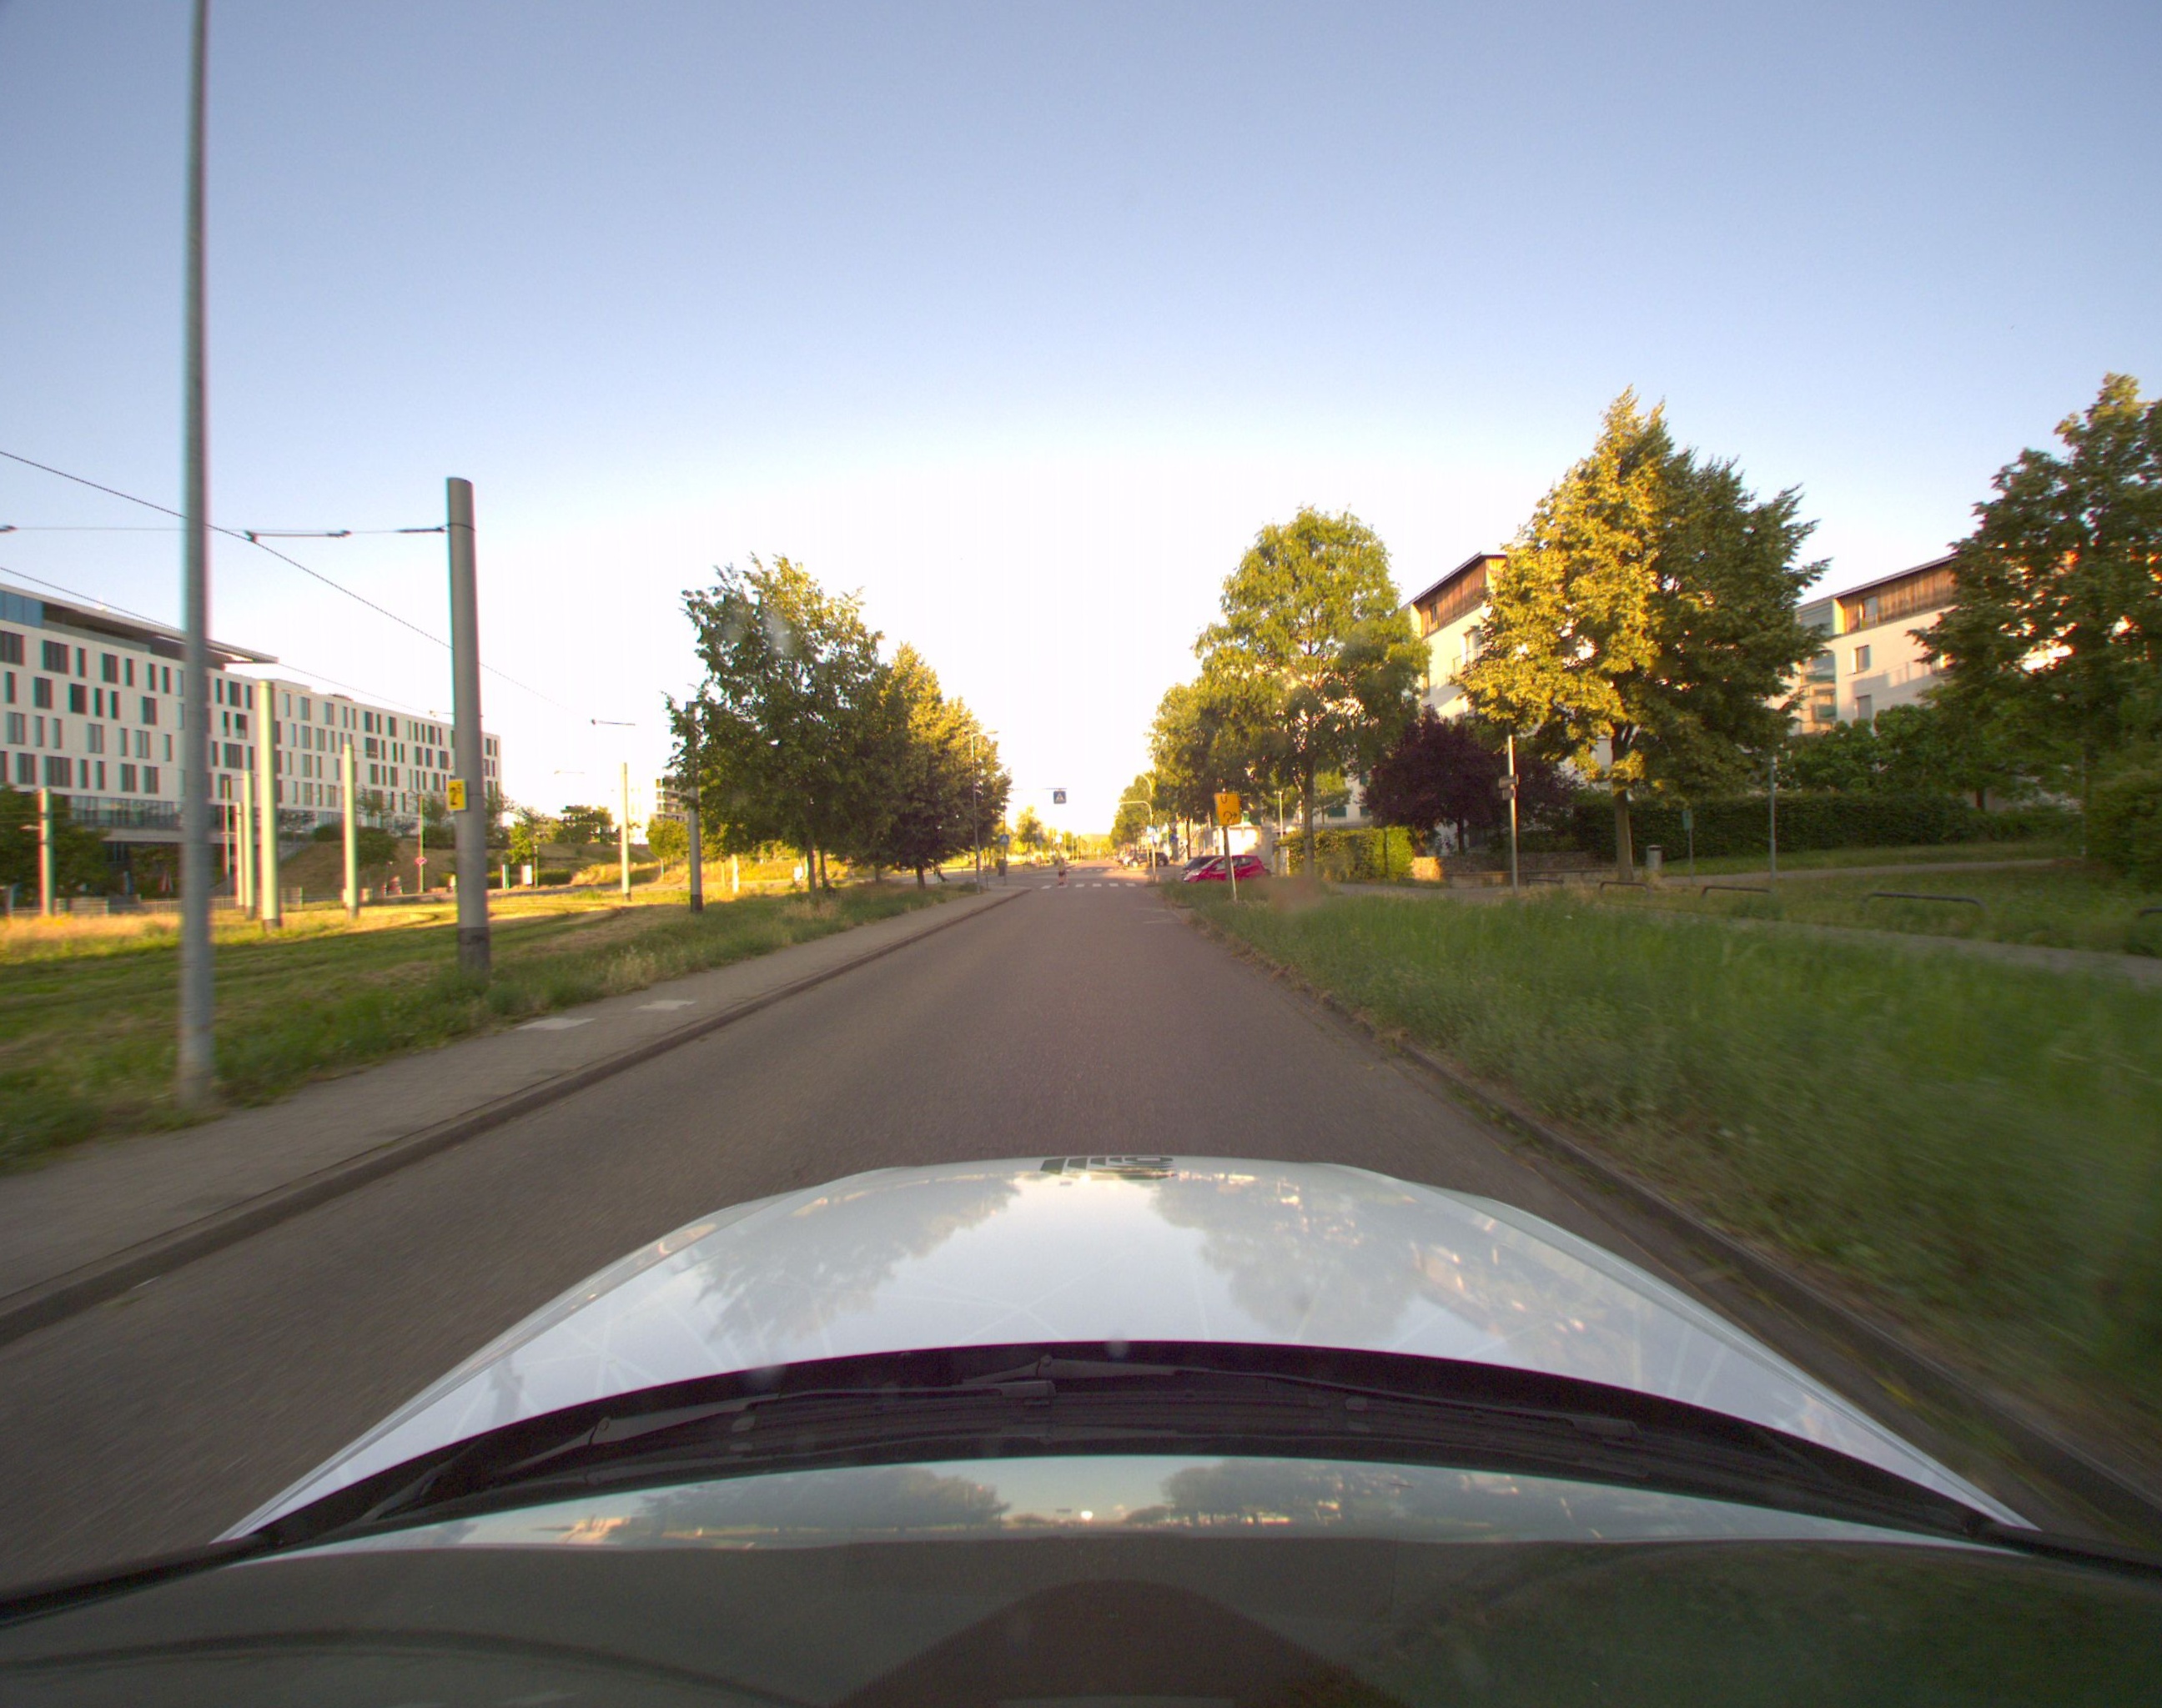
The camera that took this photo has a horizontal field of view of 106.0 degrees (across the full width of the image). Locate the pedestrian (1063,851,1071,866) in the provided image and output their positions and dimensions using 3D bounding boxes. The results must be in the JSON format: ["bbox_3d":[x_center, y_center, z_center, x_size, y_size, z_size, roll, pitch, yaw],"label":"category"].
[{"bbox_3d":[-1.904,0.663,112.110,0.866,2.013,0.787,-2,0,-9],"label":"pedestrian"}]

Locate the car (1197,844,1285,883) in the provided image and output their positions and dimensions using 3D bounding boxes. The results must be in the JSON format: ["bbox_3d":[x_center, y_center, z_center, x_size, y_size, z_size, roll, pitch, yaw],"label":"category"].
[{"bbox_3d":[7.636,0.449,39.073,3.796,1.508,1.677,-3,4,-5],"label":"car"}]

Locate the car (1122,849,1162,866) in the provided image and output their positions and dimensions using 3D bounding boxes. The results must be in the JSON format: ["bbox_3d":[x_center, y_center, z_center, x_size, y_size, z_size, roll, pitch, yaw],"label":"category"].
[{"bbox_3d":[6.671,0.384,89.181,4.338,1.596,2.001,-2,0,2],"label":"car"}]

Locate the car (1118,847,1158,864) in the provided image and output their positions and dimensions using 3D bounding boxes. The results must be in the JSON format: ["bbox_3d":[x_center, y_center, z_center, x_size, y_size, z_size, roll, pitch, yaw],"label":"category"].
[{"bbox_3d":[7.527,0.202,107.194,4.992,2.045,2.247,-2,0,-4],"label":"car"}]

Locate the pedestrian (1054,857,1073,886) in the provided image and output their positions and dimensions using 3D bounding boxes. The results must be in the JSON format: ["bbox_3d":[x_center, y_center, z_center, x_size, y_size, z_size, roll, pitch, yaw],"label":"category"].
[{"bbox_3d":[-1.054,1.026,49.036,1.018,1.693,0.757,-2,0,-10],"label":"pedestrian"}]

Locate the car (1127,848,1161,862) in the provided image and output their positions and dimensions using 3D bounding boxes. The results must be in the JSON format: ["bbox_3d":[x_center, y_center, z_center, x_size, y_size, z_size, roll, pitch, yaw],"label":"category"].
[{"bbox_3d":[8.021,0.163,104.134,4.249,1.596,2.000,-2,0,0],"label":"car"}]

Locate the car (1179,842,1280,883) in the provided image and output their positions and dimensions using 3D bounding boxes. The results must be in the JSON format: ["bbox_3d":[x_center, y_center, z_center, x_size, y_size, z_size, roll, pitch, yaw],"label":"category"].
[{"bbox_3d":[6.070,0.327,33.592,3.791,1.508,1.678,-2,0,-1],"label":"car"}]

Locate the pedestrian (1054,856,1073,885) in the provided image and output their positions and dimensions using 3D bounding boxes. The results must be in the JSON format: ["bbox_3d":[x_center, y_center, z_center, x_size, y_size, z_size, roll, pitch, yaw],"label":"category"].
[{"bbox_3d":[-1.087,1.011,49.750,0.983,1.693,0.697,-2,0,-10],"label":"pedestrian"}]

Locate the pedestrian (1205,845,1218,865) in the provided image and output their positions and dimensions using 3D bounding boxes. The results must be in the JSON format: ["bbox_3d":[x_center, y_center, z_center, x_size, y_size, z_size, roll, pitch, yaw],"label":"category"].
[{"bbox_3d":[11.595,0.067,72.416,1.002,1.788,0.761,-1,0,-5],"label":"pedestrian"}]

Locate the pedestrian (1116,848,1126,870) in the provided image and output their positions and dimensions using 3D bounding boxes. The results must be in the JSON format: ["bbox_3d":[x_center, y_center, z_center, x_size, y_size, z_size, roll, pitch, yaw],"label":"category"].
[{"bbox_3d":[3.768,0.478,77.114,0.842,2.013,0.945,-2,0,7],"label":"pedestrian"}]

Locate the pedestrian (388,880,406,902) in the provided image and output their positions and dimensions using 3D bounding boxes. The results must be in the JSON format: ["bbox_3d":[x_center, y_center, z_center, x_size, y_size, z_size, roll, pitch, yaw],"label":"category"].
[{"bbox_3d":[-56.650,3.060,67.461,0.783,1.786,0.815,-2,0,4],"label":"pedestrian"}]

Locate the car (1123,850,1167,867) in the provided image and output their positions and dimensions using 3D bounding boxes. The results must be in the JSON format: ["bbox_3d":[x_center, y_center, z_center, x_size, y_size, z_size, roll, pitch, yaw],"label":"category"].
[{"bbox_3d":[6.562,0.427,84.013,4.467,1.596,2.001,-2,0,2],"label":"car"}]

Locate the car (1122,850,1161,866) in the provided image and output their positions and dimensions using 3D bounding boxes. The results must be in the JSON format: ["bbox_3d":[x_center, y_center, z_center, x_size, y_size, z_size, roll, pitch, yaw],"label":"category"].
[{"bbox_3d":[6.801,0.452,91.908,4.247,1.596,2.001,-2,0,2],"label":"car"}]

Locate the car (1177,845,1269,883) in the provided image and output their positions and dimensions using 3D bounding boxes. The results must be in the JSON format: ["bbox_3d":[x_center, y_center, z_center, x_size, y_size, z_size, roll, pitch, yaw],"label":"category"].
[{"bbox_3d":[6.277,0.426,36.274,3.791,1.508,1.678,-2,0,-1],"label":"car"}]
